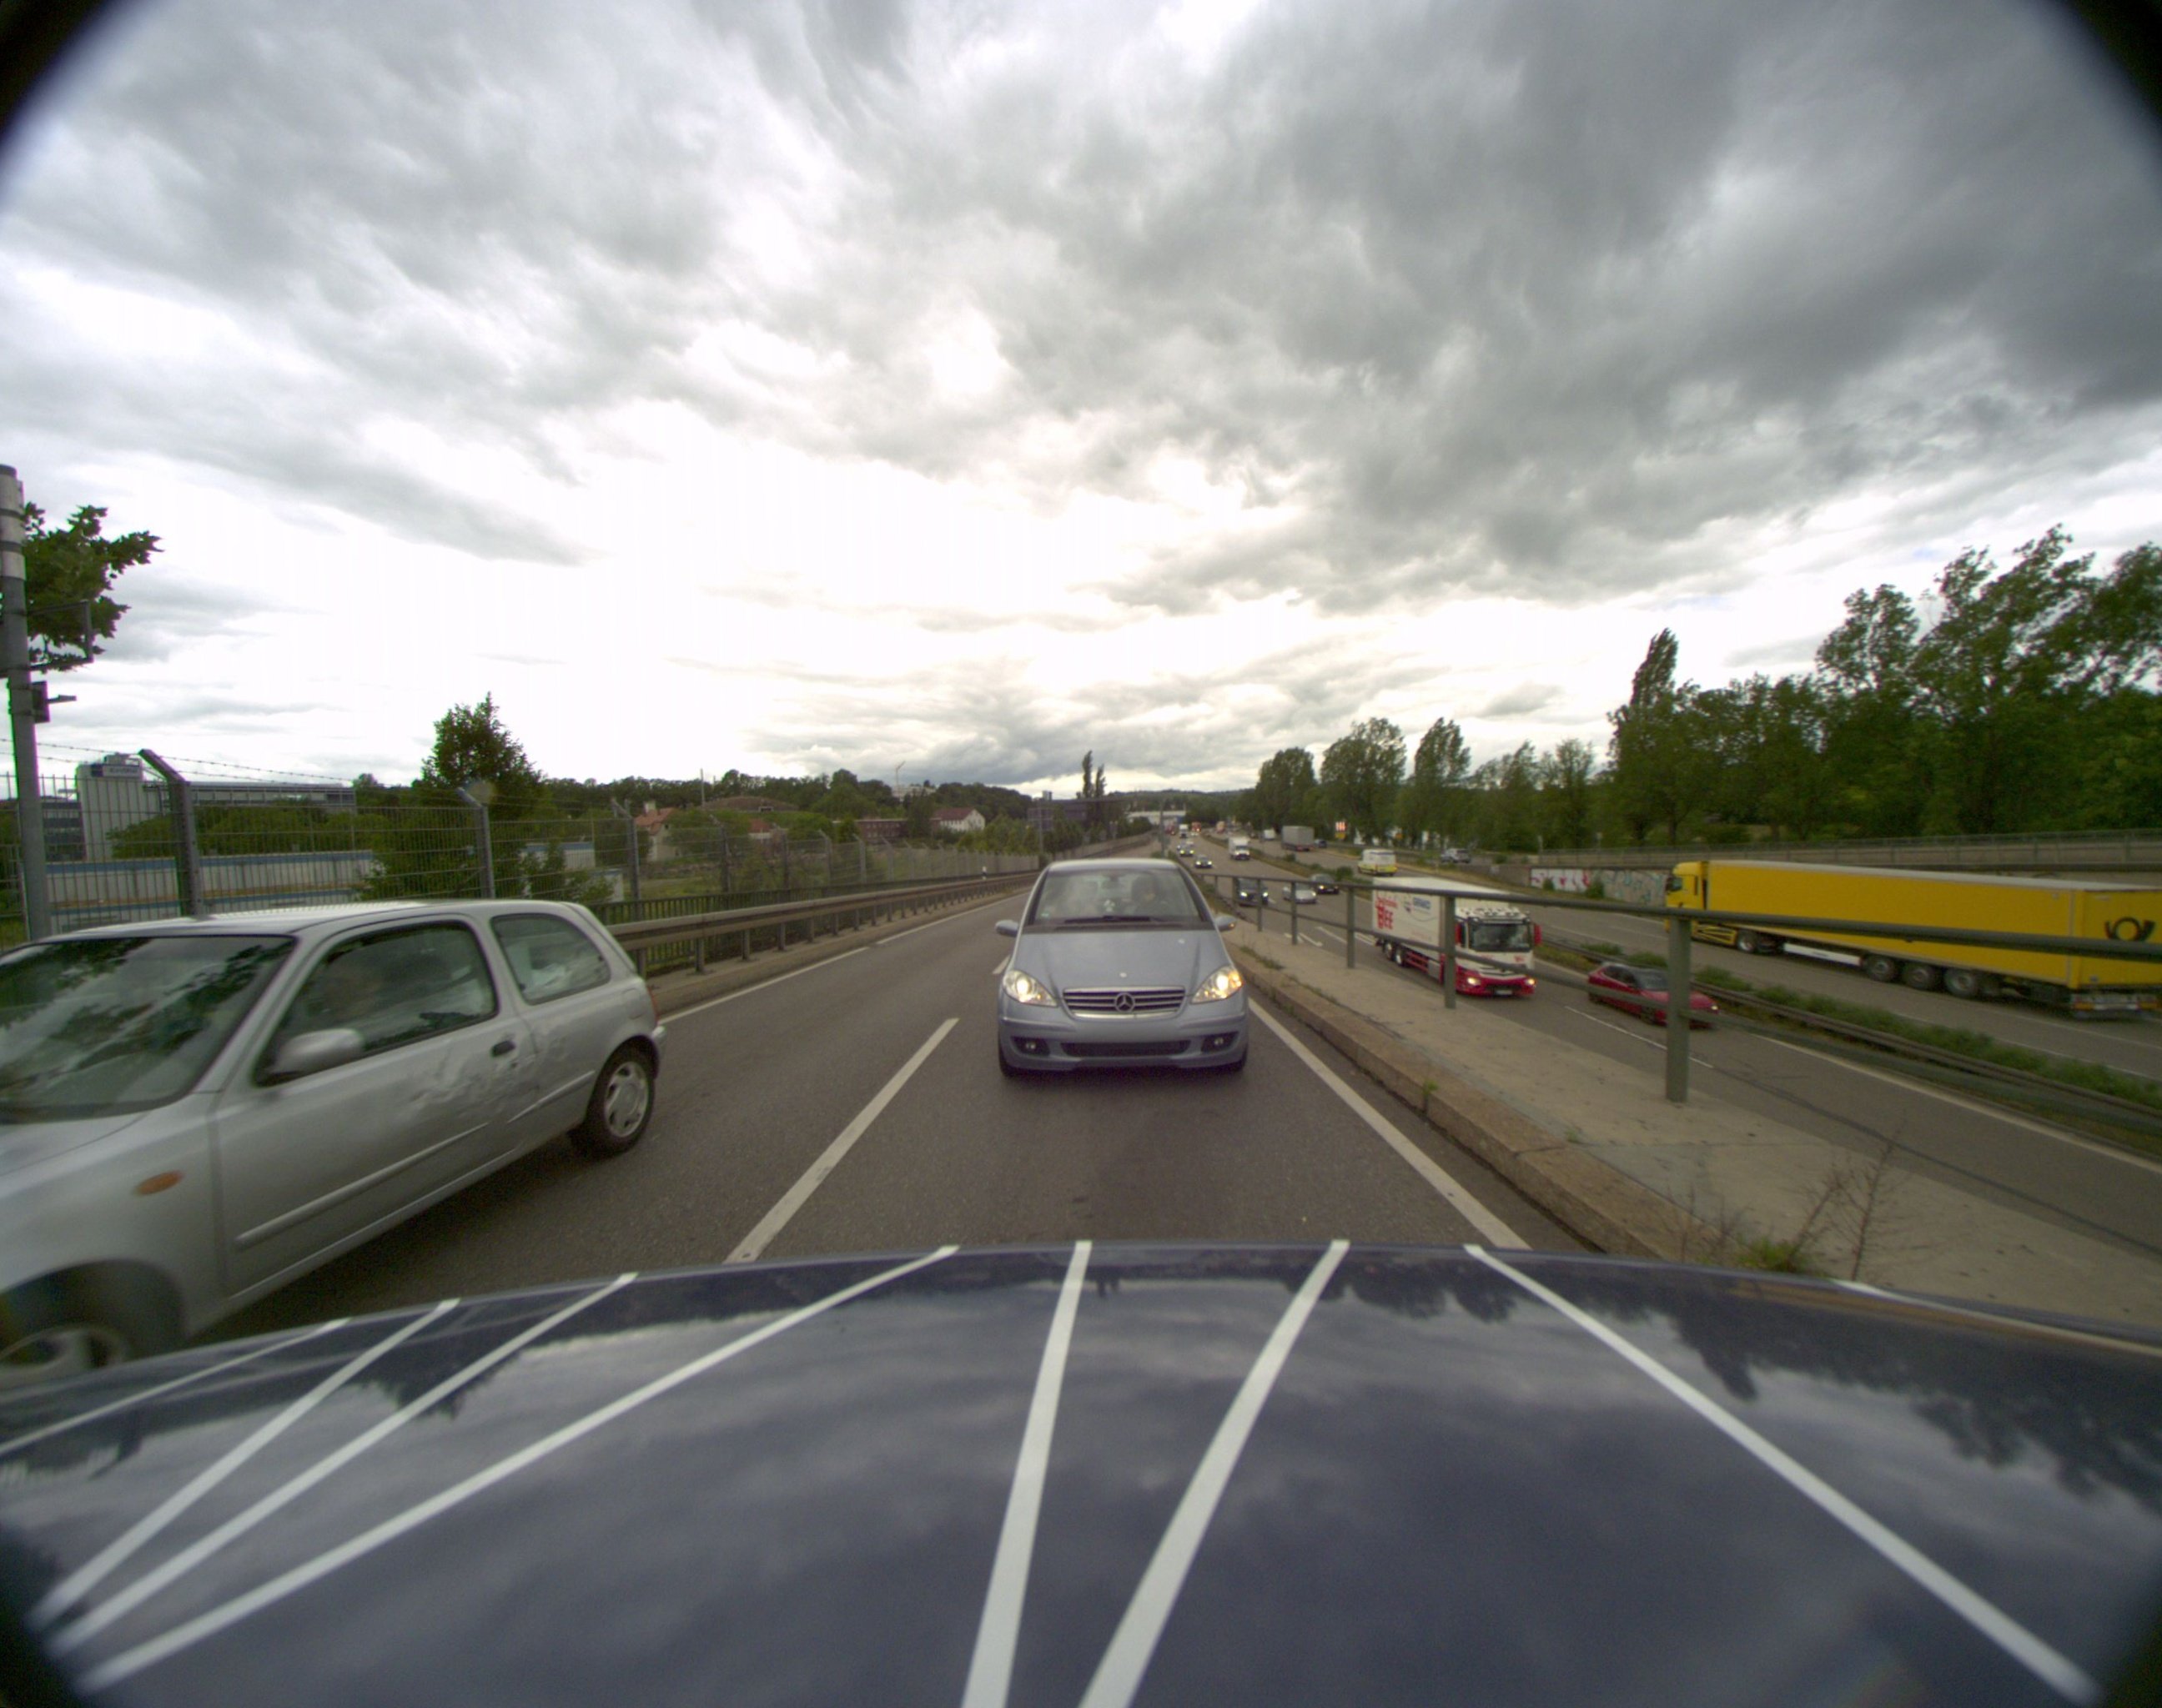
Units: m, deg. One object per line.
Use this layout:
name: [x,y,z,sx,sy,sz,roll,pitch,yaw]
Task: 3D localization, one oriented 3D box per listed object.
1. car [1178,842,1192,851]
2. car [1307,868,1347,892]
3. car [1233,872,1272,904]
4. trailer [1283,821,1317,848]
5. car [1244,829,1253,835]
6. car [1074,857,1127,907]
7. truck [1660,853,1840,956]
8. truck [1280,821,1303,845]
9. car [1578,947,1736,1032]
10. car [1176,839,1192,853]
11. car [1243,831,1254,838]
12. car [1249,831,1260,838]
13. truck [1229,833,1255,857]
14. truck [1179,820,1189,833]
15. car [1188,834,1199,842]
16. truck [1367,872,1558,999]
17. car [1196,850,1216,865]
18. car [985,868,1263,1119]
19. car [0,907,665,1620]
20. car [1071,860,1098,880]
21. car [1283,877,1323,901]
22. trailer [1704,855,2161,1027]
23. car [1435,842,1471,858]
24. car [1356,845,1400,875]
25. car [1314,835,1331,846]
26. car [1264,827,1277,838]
car: [18.750,-1.416,137.219,1.998,1.524,3.998,0,3,1]
car: [19.681,2.047,60.993,1.863,1.457,4.423,-2,3,2]
car: [12.053,2.328,53.689,1.998,1.830,4.424,0,3,4]
trailer: [37.583,-3.401,130.735,2.793,4.117,13.759,-1,3,4]
car: [50.914,-6.760,230.749,1.886,1.807,4.560,2,3,2]
car: [0.718,1.036,28.823,1.830,1.701,4.001,-2,-1,1]
truck: [30.845,2.173,35.425,3.248,4.159,5.801,0,3,2]
truck: [38.058,-3.796,137.432,2.793,4.117,5.934,-1,3,4]
car: [17.680,4.109,23.632,1.834,1.570,4.180,-2,4,2]
car: [15.633,-1.246,115.440,1.998,2.003,3.999,1,3,3]
car: [38.767,-4.535,175.905,1.682,1.412,3.999,0,3,4]
car: [48.241,-5.551,211.391,1.886,1.807,4.560,2,3,2]
truck: [22.484,-1.328,106.330,2.239,2.993,7.228,-1,3,1]
truck: [31.362,-8.412,231.601,3.009,4.087,5.873,0,3,6]
car: [23.021,-3.346,156.107,1.769,1.520,3.334,0,3,1]
truck: [14.485,2.825,30.106,2.889,3.506,9.869,1,3,3]
car: [14.881,0.390,90.581,1.828,1.443,4.125,0,3,1]
car: [0.304,0.919,6.793,1.743,1.534,3.993,-1,0,1]
car: [-3.276,1.061,2.710,1.589,1.423,3.442,-2,1,1]
car: [0.368,1.370,66.335,1.800,1.643,4.153,-2,-1,7]
car: [16.046,2.527,55.184,1.789,1.294,4.151,0,3,2]
trailer: [30.546,2.510,28.631,3.248,4.239,13.674,0,3,2]
car: [40.524,-0.419,82.876,1.897,1.642,4.378,-3,0,3]
car: [30.125,0.556,77.340,1.998,2.614,6.711,1,3,3]
car: [45.351,-2.580,142.819,1.998,1.890,4.583,2,3,5]
car: [47.758,-5.534,191.270,1.998,2.635,5.179,2,3,2]
